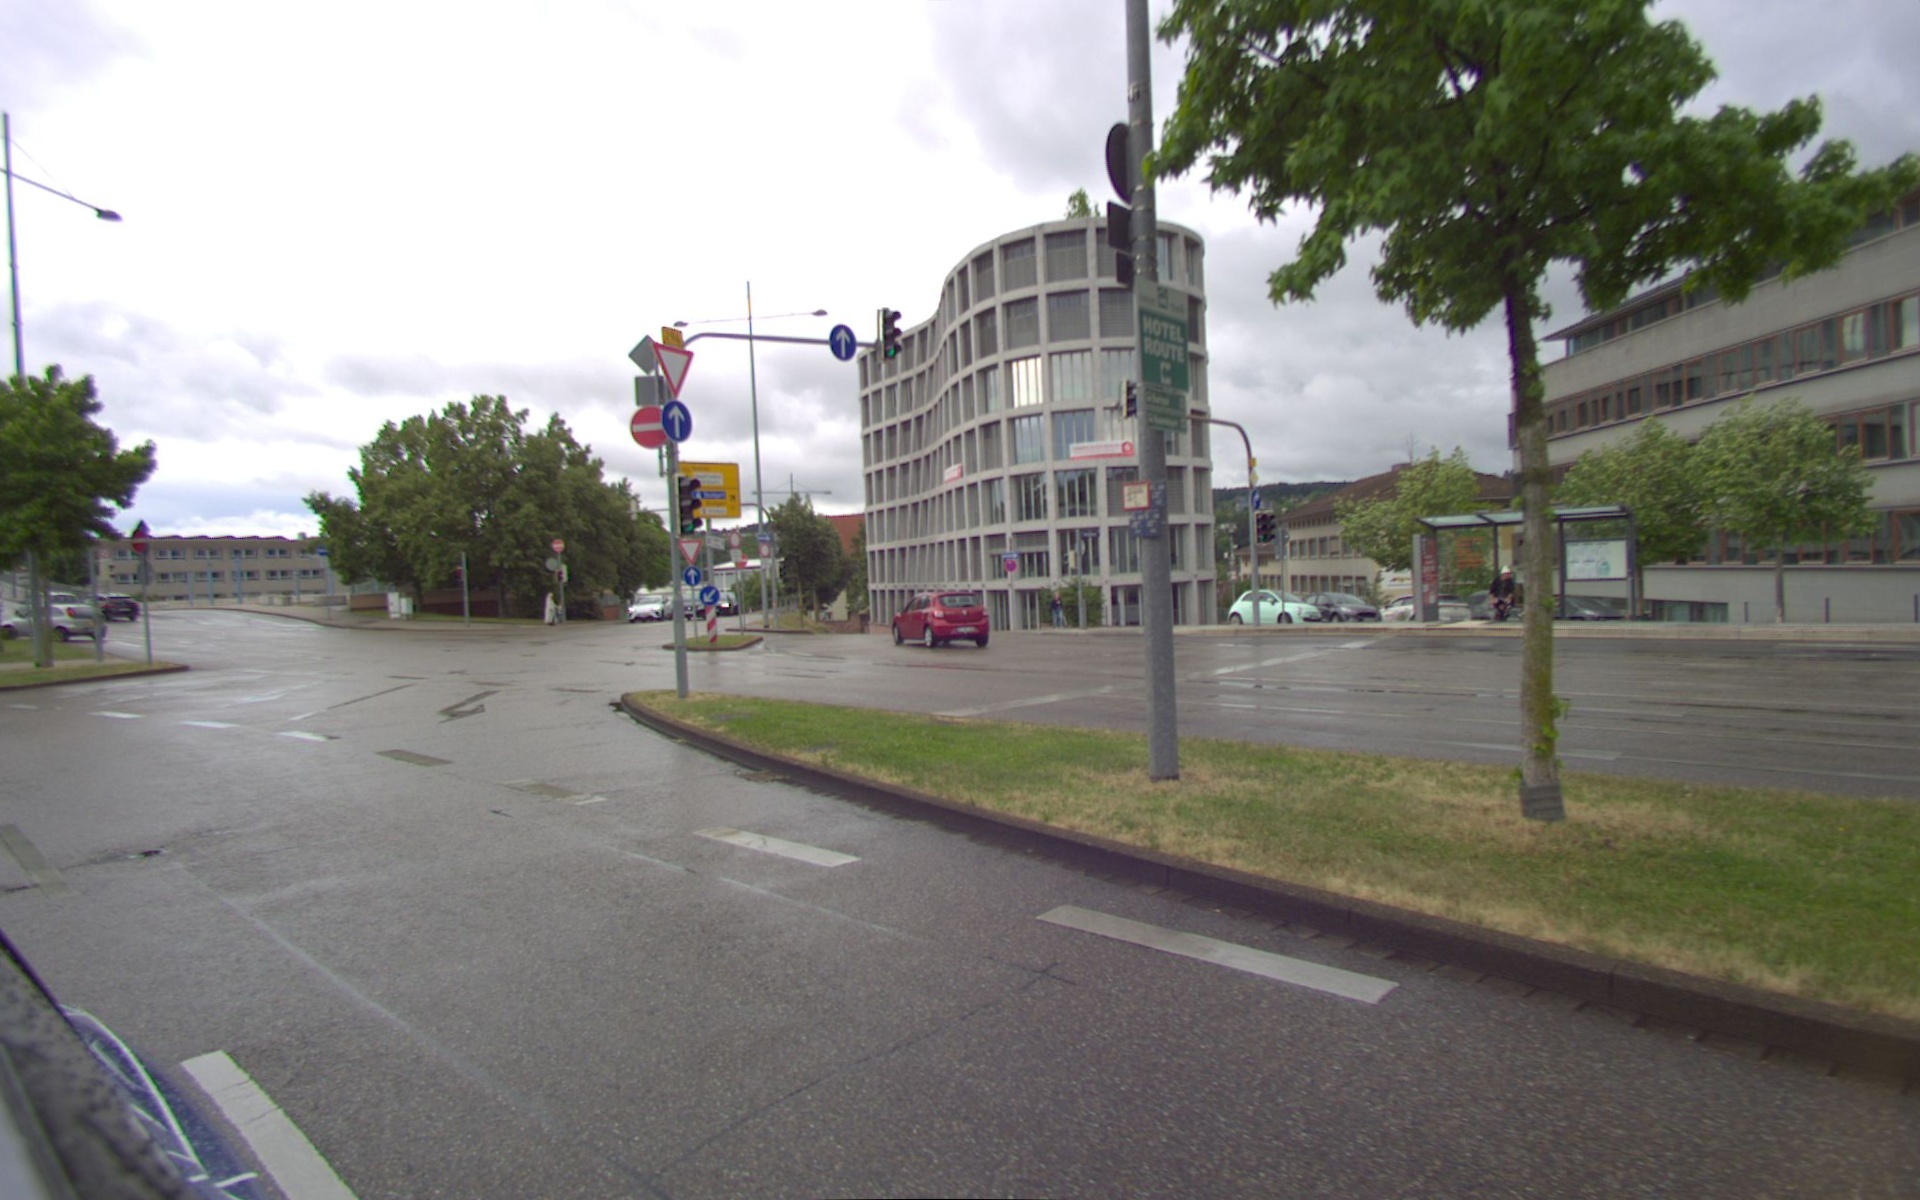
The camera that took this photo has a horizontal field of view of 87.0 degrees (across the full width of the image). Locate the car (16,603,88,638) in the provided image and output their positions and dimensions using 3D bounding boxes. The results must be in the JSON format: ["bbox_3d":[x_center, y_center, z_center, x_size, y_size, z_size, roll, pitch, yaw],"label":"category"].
[{"bbox_3d":[-46.807,1.040,52.138,4.409,1.665,1.831,-1,1,35],"label":"car"}]

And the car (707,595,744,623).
[{"bbox_3d":[-14.287,0.522,61.855,1.701,1.579,3.844,-2,1,-6],"label":"car"}]

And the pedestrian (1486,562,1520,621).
[{"bbox_3d":[13.781,-0.212,25.683,0.625,1.480,0.671,-1,1,40],"label":"pedestrian"}]

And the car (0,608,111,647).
[{"bbox_3d":[-35.993,1.066,39.967,3.831,1.459,1.633,0,0,8],"label":"car"}]

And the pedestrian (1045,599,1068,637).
[{"bbox_3d":[4.136,0.781,43.413,0.704,1.595,0.664,0,1,39],"label":"pedestrian"}]

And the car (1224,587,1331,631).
[{"bbox_3d":[11.837,0.336,37.931,1.605,1.507,3.592,-2,0,-33],"label":"car"}]

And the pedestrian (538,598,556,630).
[{"bbox_3d":[-20.601,0.683,50.516,0.643,1.582,0.632,0,1,-43],"label":"pedestrian"}]

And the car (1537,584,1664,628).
[{"bbox_3d":[23.500,0.223,37.234,1.605,1.507,3.593,-2,0,-30],"label":"car"}]

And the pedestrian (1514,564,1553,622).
[{"bbox_3d":[14.263,-0.180,25.159,0.720,1.402,0.671,-1,1,40],"label":"pedestrian"}]

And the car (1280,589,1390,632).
[{"bbox_3d":[13.997,0.391,37.941,1.605,1.507,3.592,-2,0,-33],"label":"car"}]

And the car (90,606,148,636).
[{"bbox_3d":[-46.453,1.148,55.867,4.919,1.515,1.827,-1,1,43],"label":"car"}]

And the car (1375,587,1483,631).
[{"bbox_3d":[17.407,0.303,37.764,1.737,1.507,3.796,-2,0,-10],"label":"car"}]

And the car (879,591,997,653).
[{"bbox_3d":[-0.686,0.571,28.173,1.797,1.563,4.046,-2,0,-24],"label":"car"}]

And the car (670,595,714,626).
[{"bbox_3d":[-14.588,0.531,55.293,1.701,1.579,3.844,-2,1,-6],"label":"car"}]

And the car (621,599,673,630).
[{"bbox_3d":[-17.432,0.770,56.586,1.859,1.579,4.146,-2,1,-4],"label":"car"}]

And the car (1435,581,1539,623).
[{"bbox_3d":[19.947,0.064,38.456,1.606,1.507,3.590,-2,0,-10],"label":"car"}]
